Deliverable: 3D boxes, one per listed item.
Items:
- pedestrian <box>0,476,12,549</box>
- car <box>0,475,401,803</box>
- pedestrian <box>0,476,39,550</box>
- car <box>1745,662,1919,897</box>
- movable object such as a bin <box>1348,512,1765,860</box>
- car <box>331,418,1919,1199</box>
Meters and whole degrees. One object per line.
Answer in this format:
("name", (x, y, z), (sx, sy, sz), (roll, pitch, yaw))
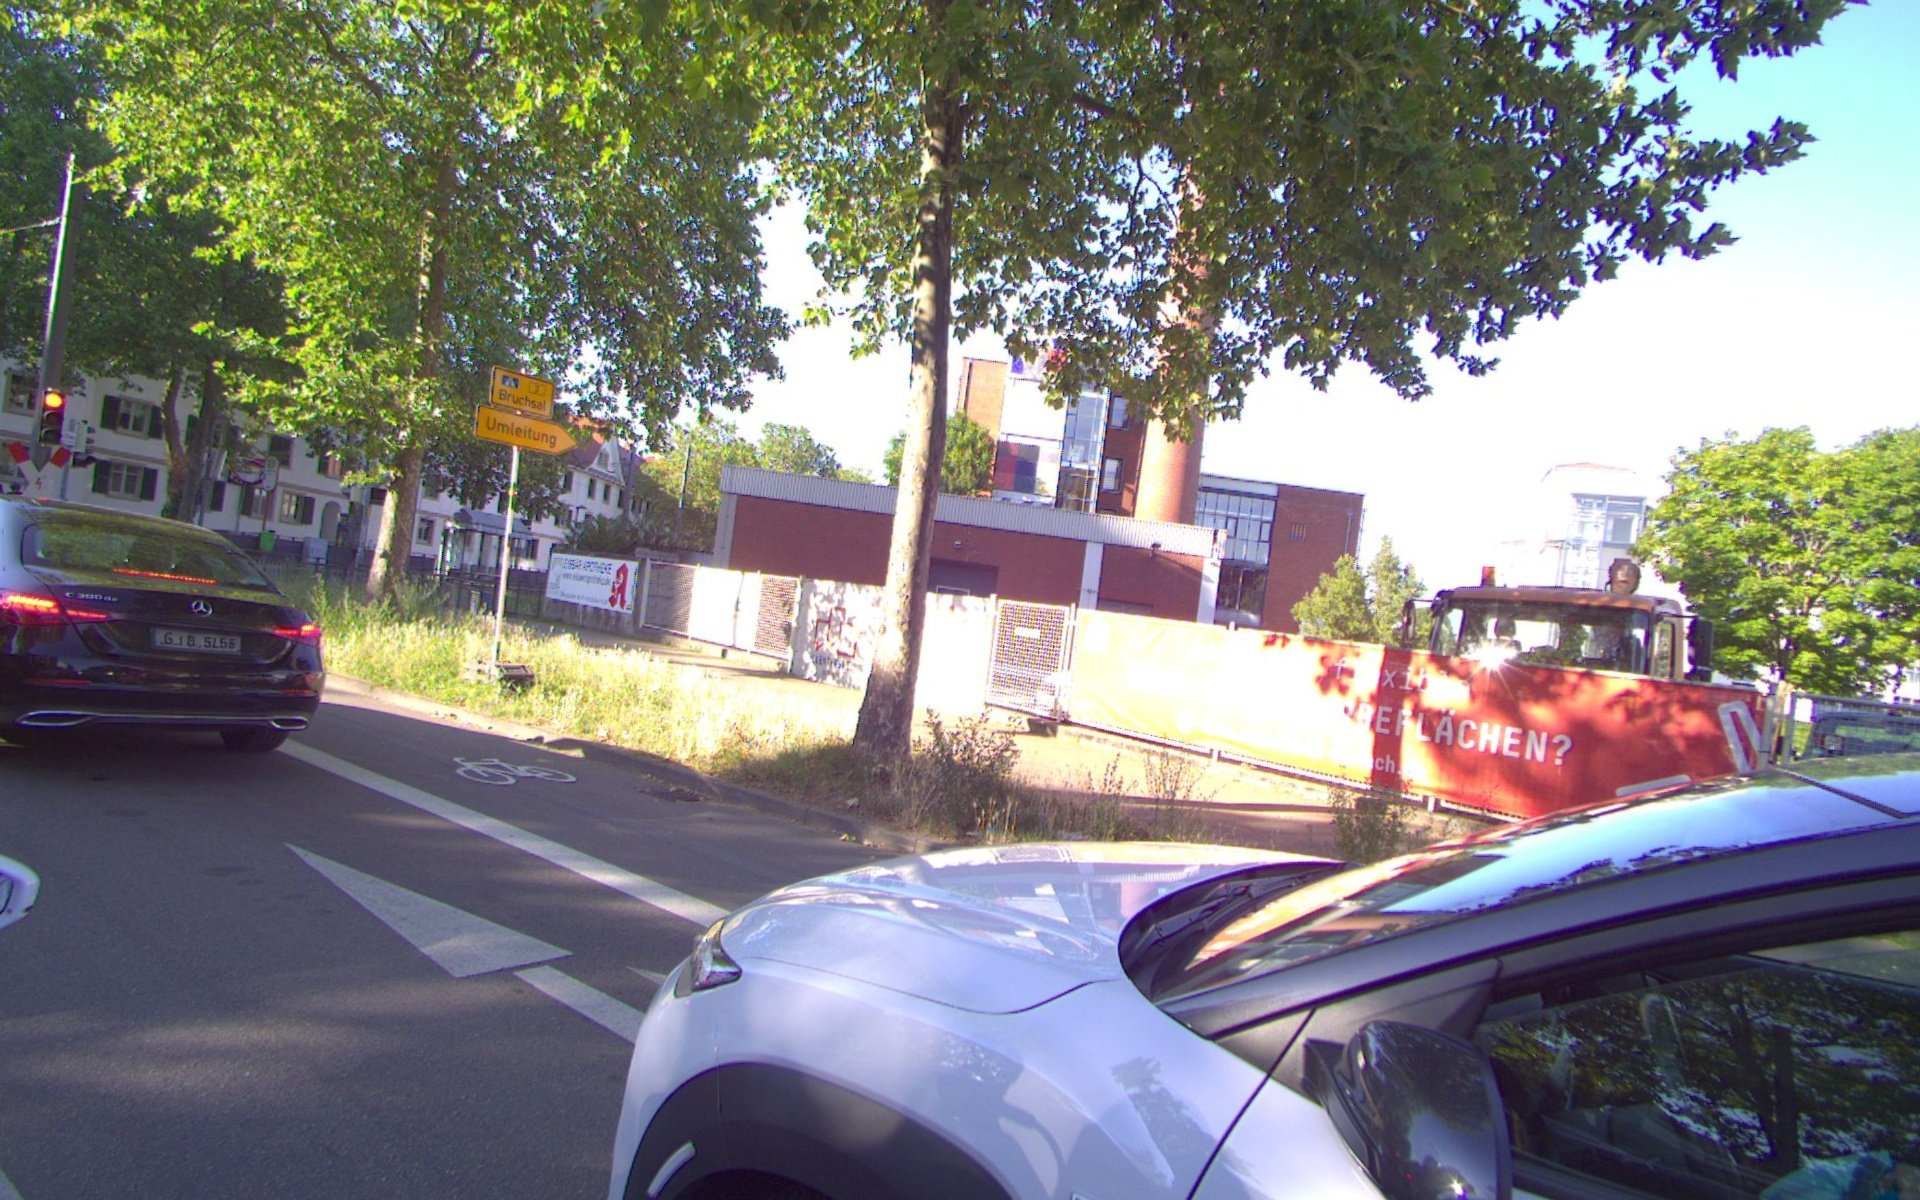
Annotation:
("pedestrian", (-26.123, -2.395, 26.918), (0.825, 1.940, 0.707), (7, -1, 28))
("car", (-5.944, 0.035, 6.713), (4.308, 1.508, 1.893), (9, -1, 32))
("pedestrian", (-26.525, -2.431, 28.137), (0.825, 1.940, 0.707), (7, -1, 28))
("car", (9.569, 1.821, 10.154), (2.016, 1.849, 4.583), (6, -3, 44))
("movable object such as a bin", (7.640, 1.031, 12.411), (3.172, 3.084, 6.266), (6, -2, 41))
("car", (1.190, 0.871, 1.289), (3.901, 1.616, 1.893), (9, -1, 33))
